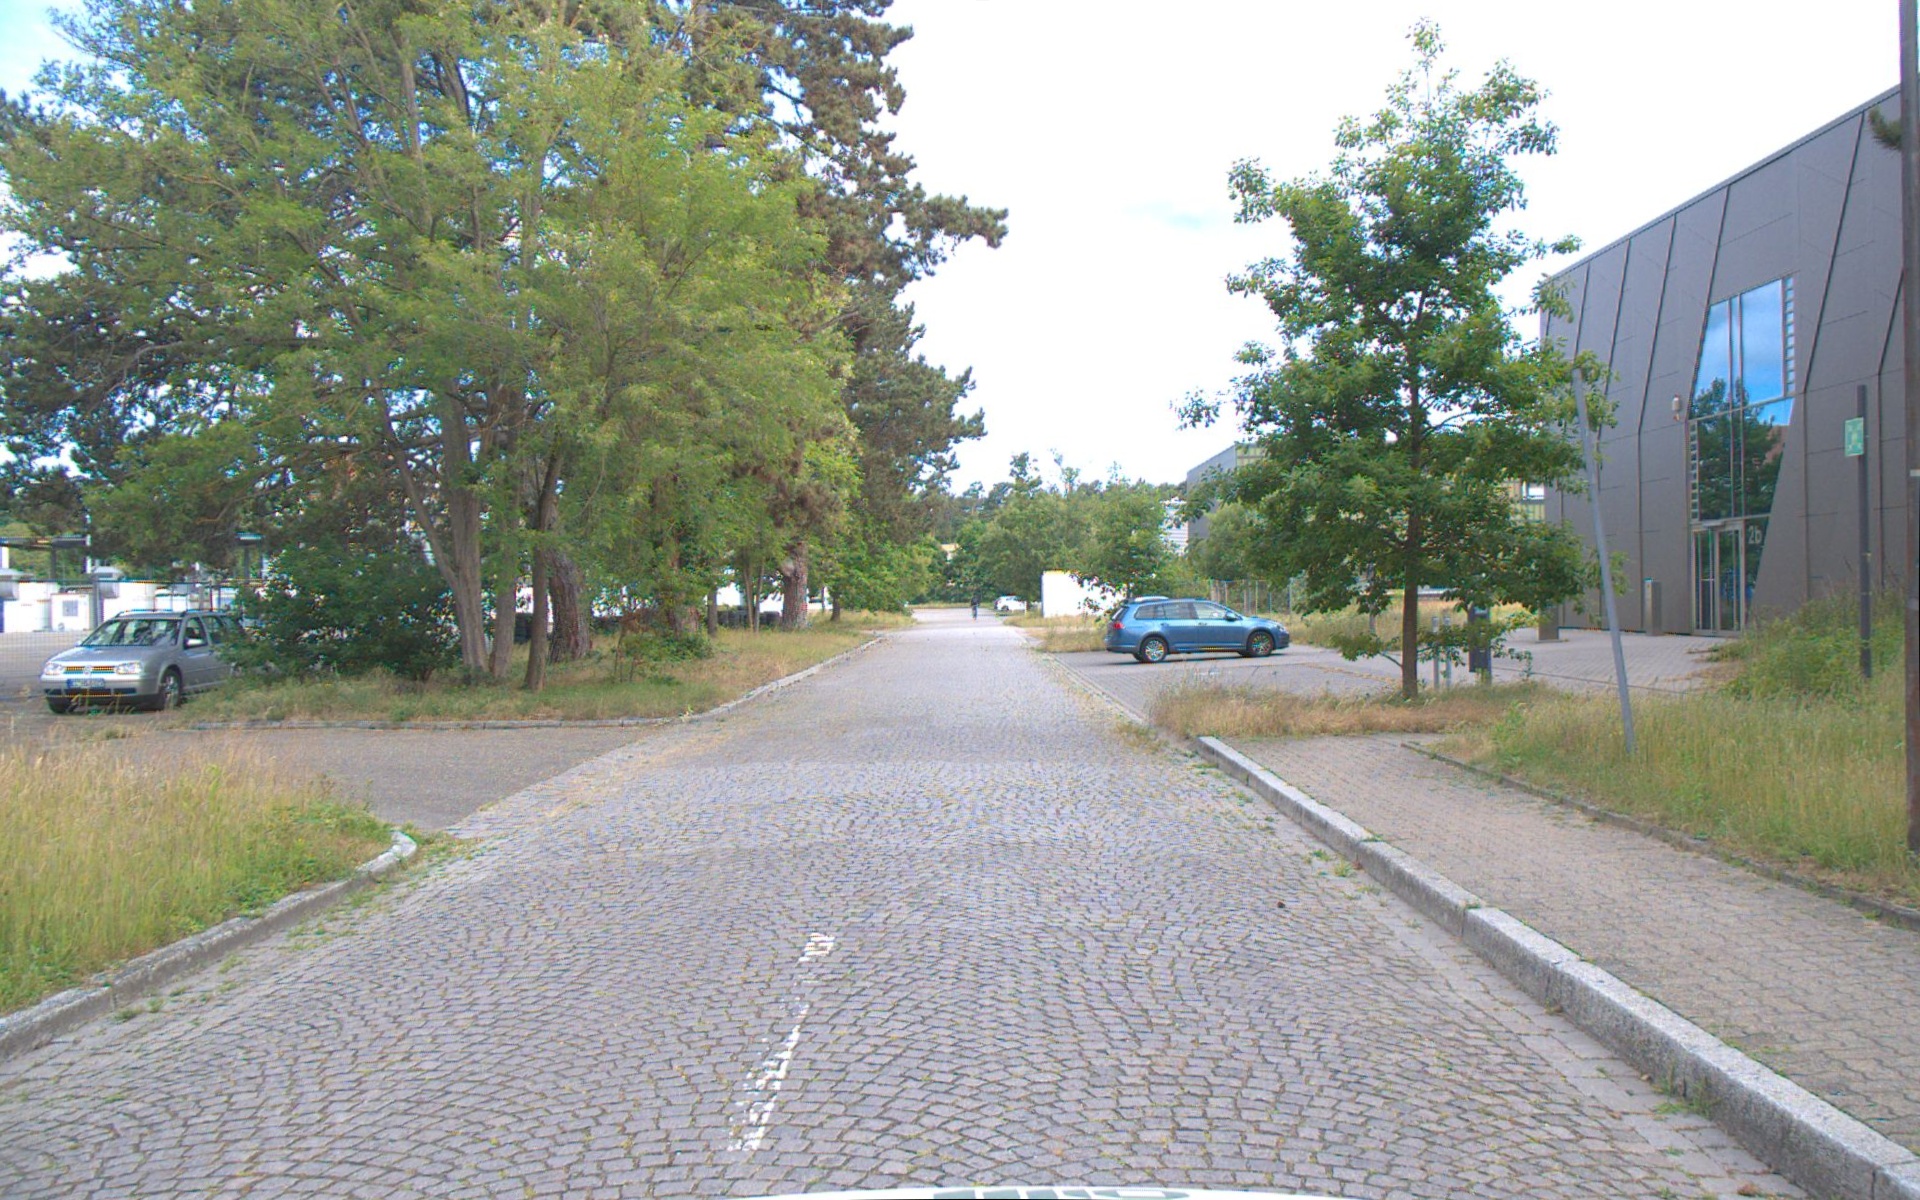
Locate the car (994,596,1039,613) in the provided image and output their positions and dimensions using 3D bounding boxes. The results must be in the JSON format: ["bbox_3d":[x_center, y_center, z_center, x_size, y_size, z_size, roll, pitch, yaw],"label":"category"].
[{"bbox_3d":[5.467,0.439,160.234,4.232,1.576,2.000,-1,0,1],"label":"car"}]

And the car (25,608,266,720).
[{"bbox_3d":[-12.451,0.921,25.596,1.695,1.457,4.161,-1,1,-1],"label":"car"}]

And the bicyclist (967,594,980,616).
[{"bbox_3d":[0.970,0.356,119.397,0.879,1.569,0.868,-1,1,-1],"label":"bicyclist"}]

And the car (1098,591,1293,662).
[{"bbox_3d":[5.694,0.626,40.416,4.391,1.488,1.934,-3,0,-3],"label":"car"}]

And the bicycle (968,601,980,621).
[{"bbox_3d":[0.979,0.787,119.404,0.807,1.400,2.042,-1,1,-1],"label":"bicycle"}]

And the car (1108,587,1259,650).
[{"bbox_3d":[6.432,0.522,47.872,4.025,1.600,1.764,-3,0,-3],"label":"car"}]
